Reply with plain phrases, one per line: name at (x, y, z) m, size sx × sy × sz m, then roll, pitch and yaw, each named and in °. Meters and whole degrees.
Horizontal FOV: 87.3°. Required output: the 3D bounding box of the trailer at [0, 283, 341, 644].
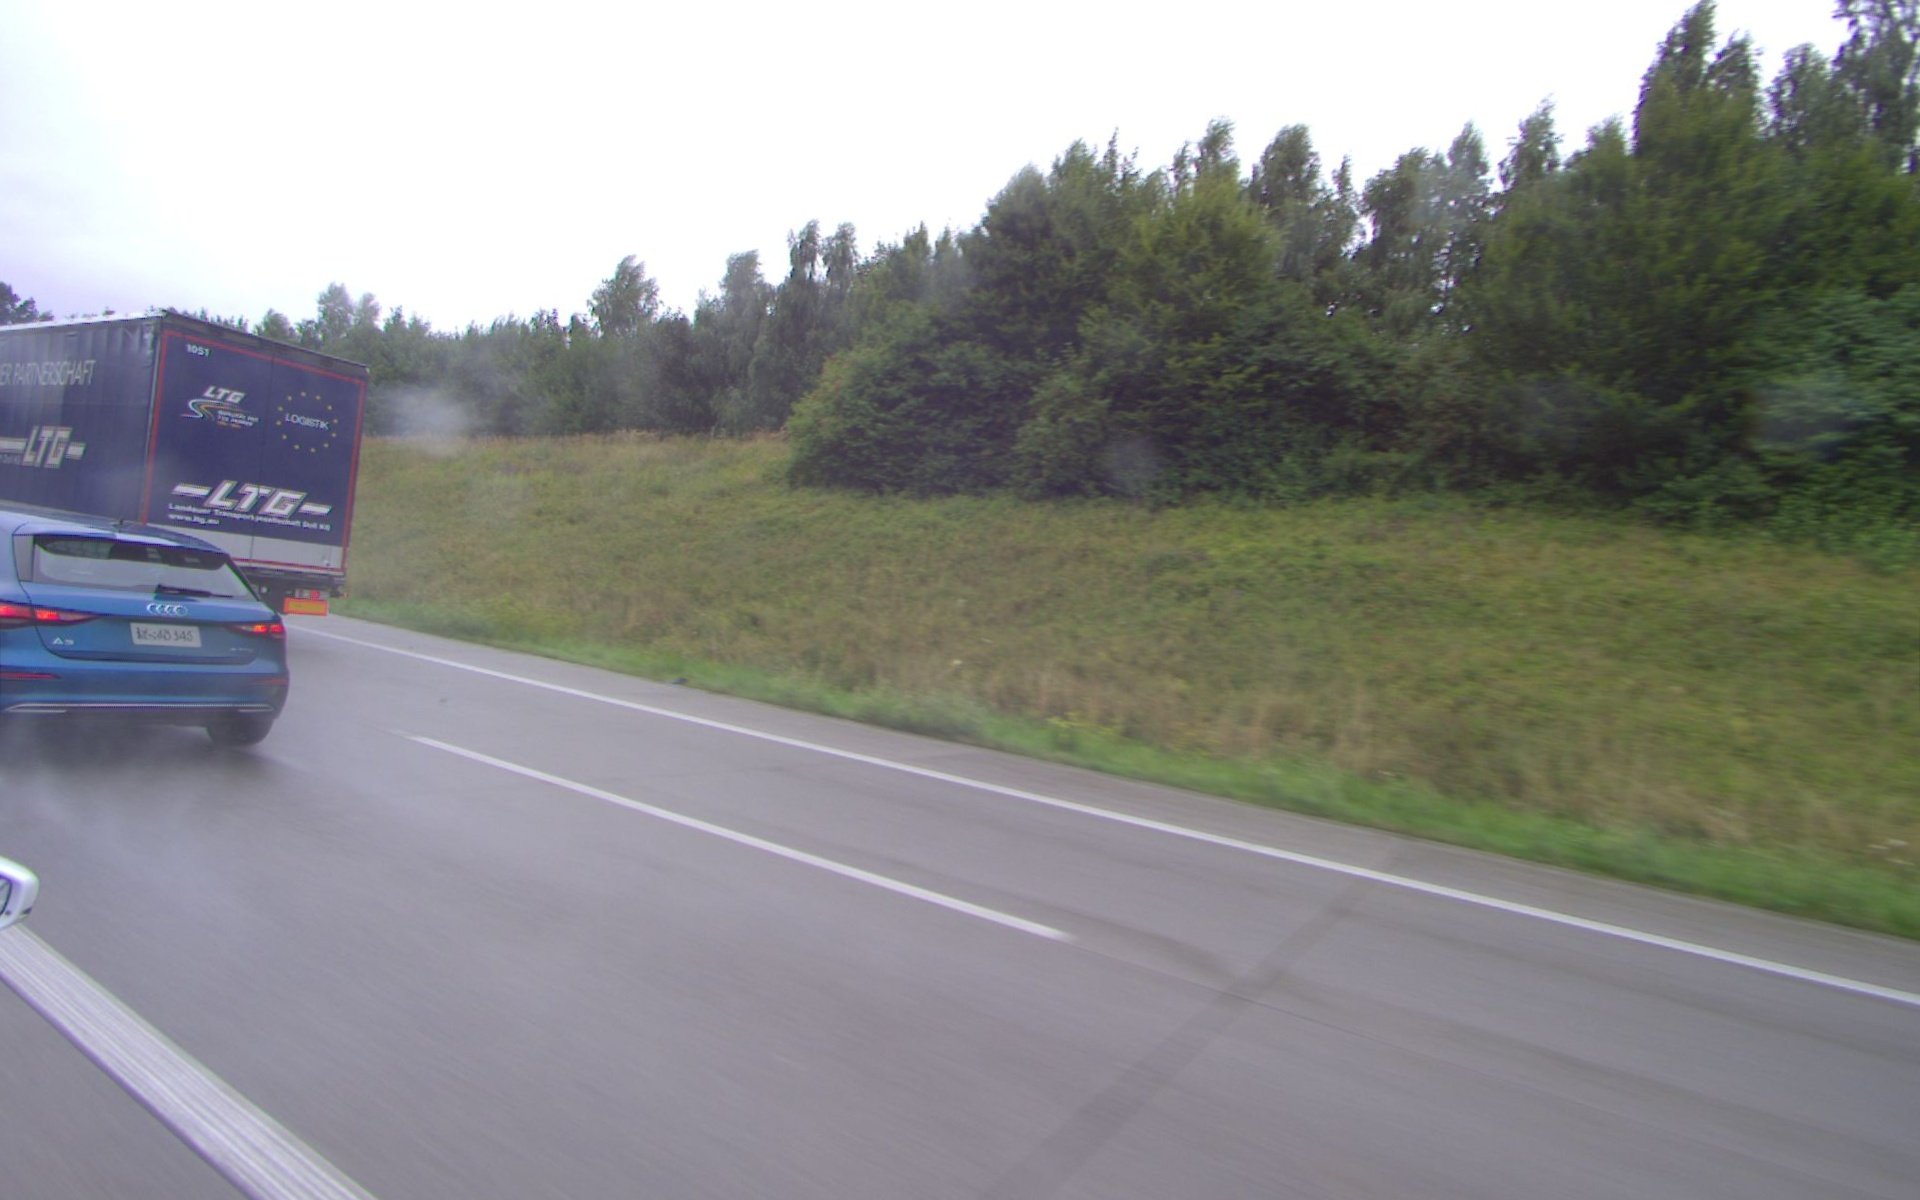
trailer at (-16.505, -2.377, 17.841) m, size 14.954 × 4.430 × 2.711 m, roll 6°, pitch -1°, yaw 32°

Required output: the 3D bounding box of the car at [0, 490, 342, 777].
car at (-6.478, 0.047, 7.014) m, size 4.595 × 1.476 × 1.731 m, roll 6°, pitch -1°, yaw 32°

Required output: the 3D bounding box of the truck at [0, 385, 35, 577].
truck at (-23.175, -2.868, 21.919) m, size 5.590 × 4.000 × 2.641 m, roll 7°, pitch -1°, yaw 31°
